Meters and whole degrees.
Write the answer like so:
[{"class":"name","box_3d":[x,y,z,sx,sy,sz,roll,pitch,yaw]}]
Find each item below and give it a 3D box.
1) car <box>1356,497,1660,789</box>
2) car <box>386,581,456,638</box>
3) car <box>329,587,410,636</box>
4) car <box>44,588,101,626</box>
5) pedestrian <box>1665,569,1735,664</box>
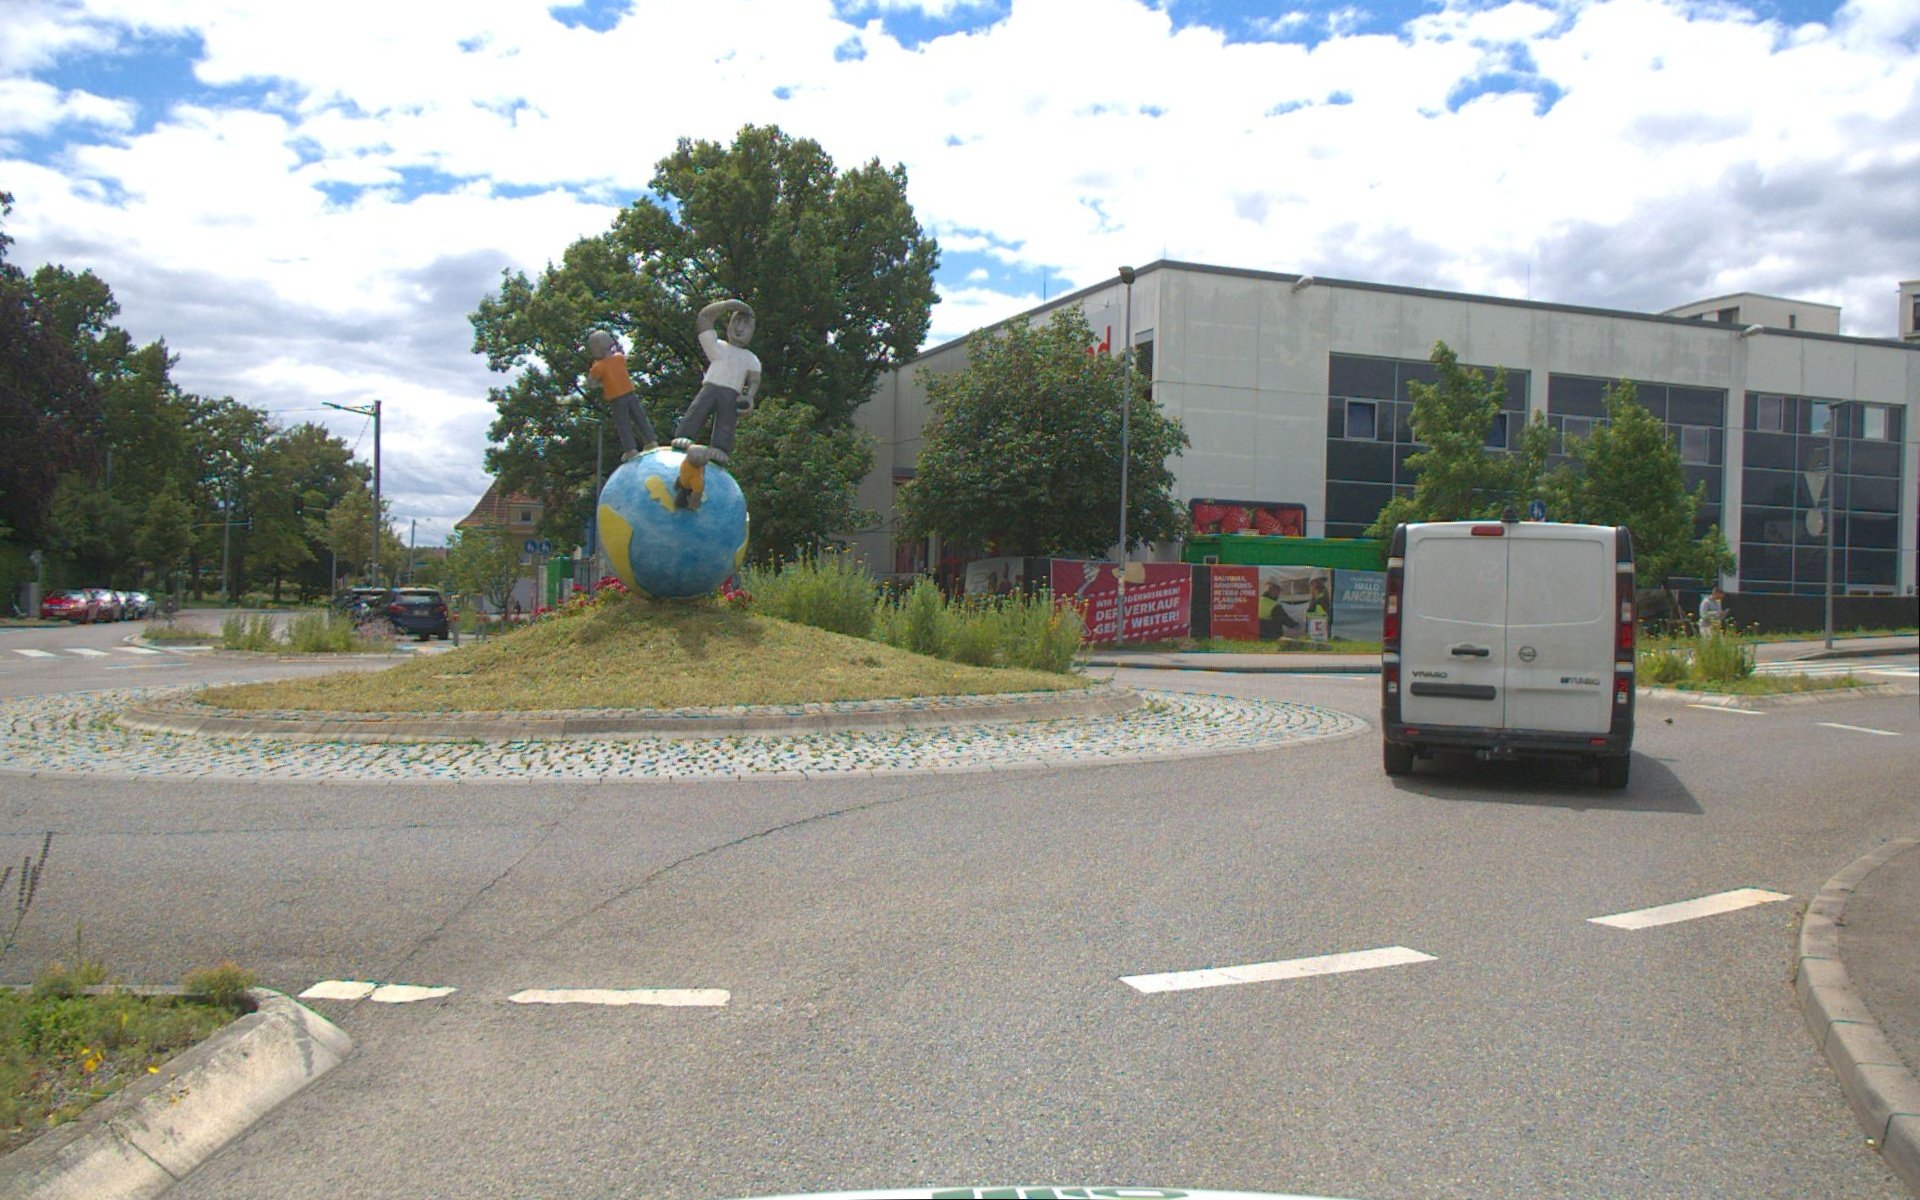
[{"class":"car","box_3d":[4.804,0.324,14.224,1.993,1.979,4.993,3,0,21]},{"class":"car","box_3d":[-16.280,0.266,50.090,1.902,1.564,3.907,2,1,-17]},{"class":"car","box_3d":[-20.296,0.387,56.746,1.900,1.526,3.884,1,1,-31]},{"class":"car","box_3d":[-37.526,0.285,69.893,2.040,1.410,4.008,1,1,-29]},{"class":"pedestrian","box_3d":[12.779,0.291,28.538,1.014,1.568,0.894,3,0,26]}]
